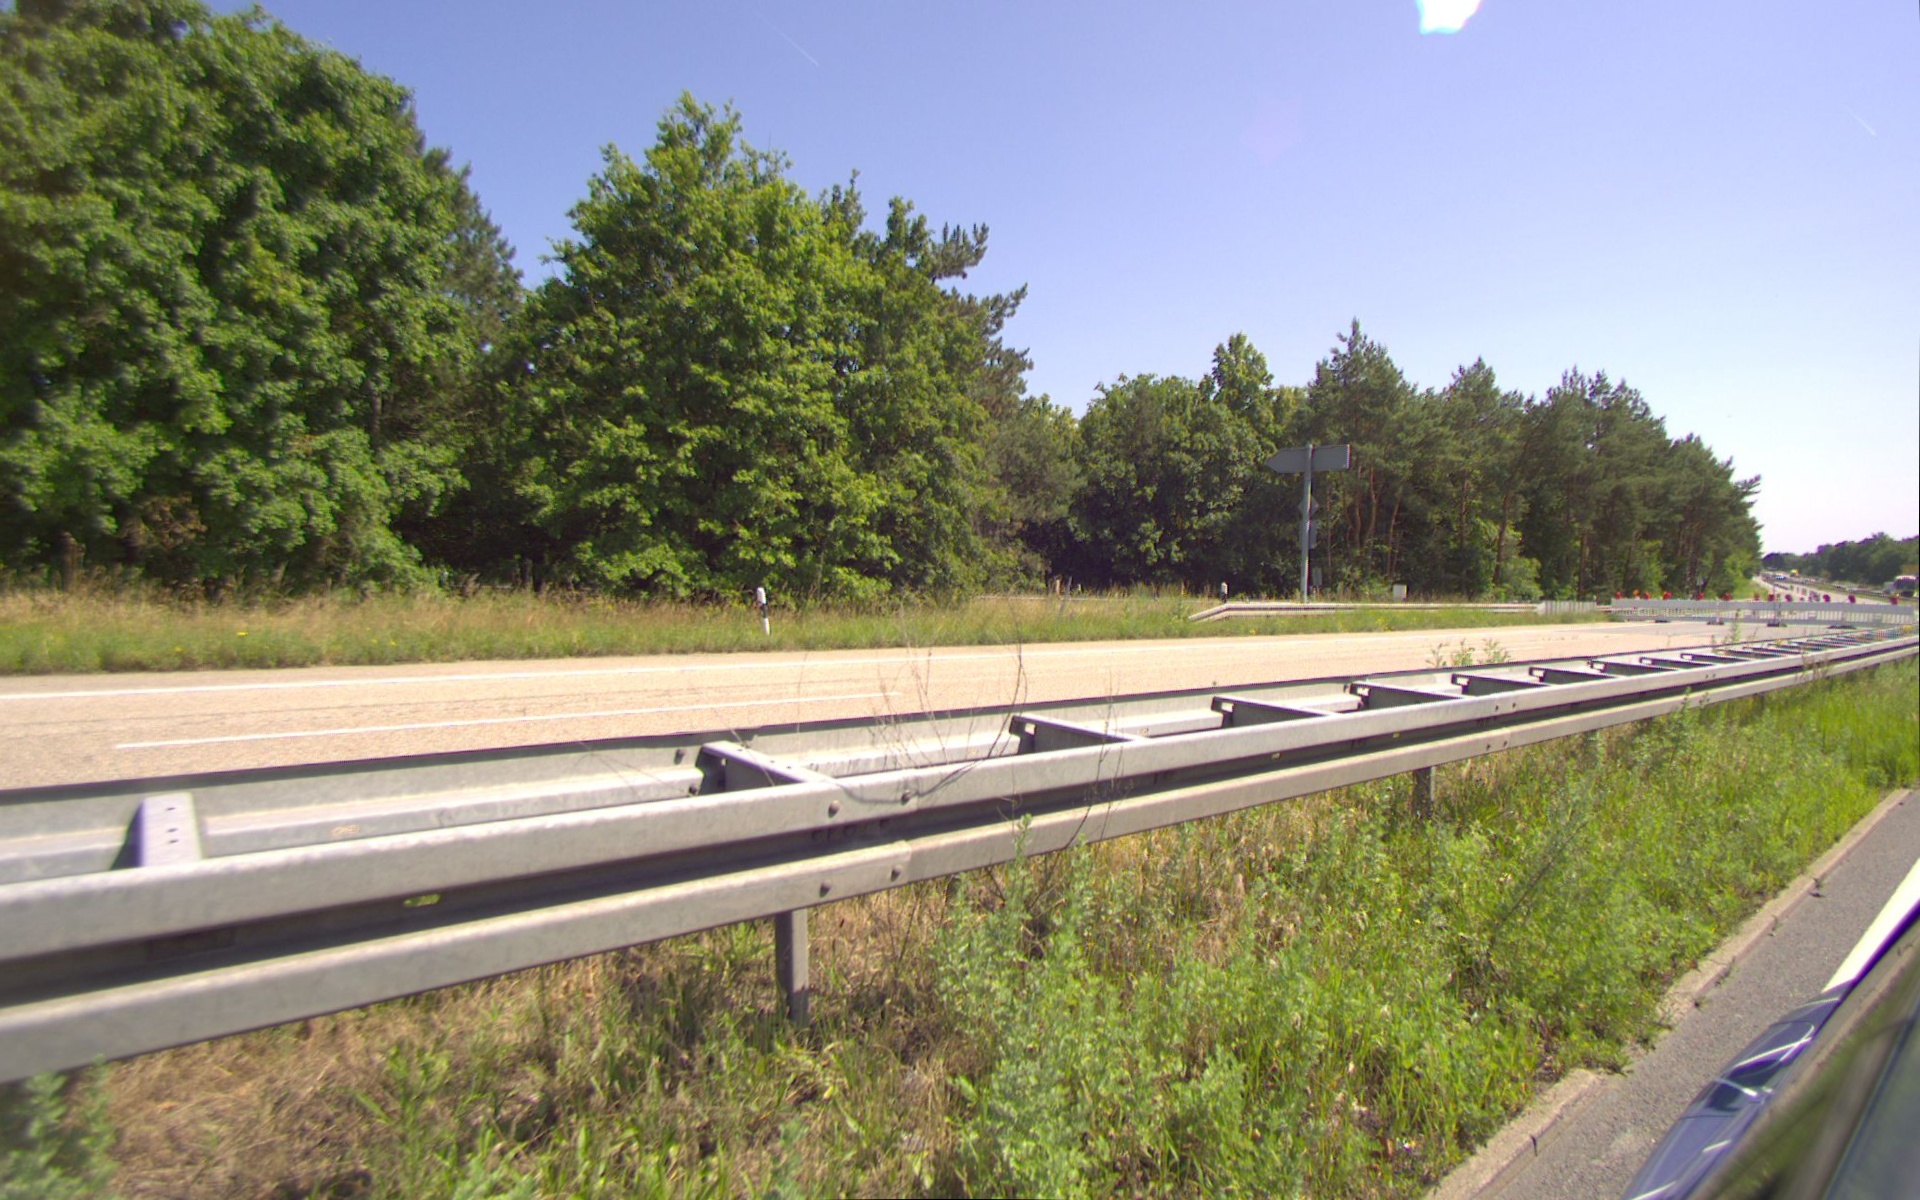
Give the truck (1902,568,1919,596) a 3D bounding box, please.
[{"bbox_3d":[152.357,-2.764,160.889,3.819,4.343,11.071,2,1,43],"label":"truck"}]
